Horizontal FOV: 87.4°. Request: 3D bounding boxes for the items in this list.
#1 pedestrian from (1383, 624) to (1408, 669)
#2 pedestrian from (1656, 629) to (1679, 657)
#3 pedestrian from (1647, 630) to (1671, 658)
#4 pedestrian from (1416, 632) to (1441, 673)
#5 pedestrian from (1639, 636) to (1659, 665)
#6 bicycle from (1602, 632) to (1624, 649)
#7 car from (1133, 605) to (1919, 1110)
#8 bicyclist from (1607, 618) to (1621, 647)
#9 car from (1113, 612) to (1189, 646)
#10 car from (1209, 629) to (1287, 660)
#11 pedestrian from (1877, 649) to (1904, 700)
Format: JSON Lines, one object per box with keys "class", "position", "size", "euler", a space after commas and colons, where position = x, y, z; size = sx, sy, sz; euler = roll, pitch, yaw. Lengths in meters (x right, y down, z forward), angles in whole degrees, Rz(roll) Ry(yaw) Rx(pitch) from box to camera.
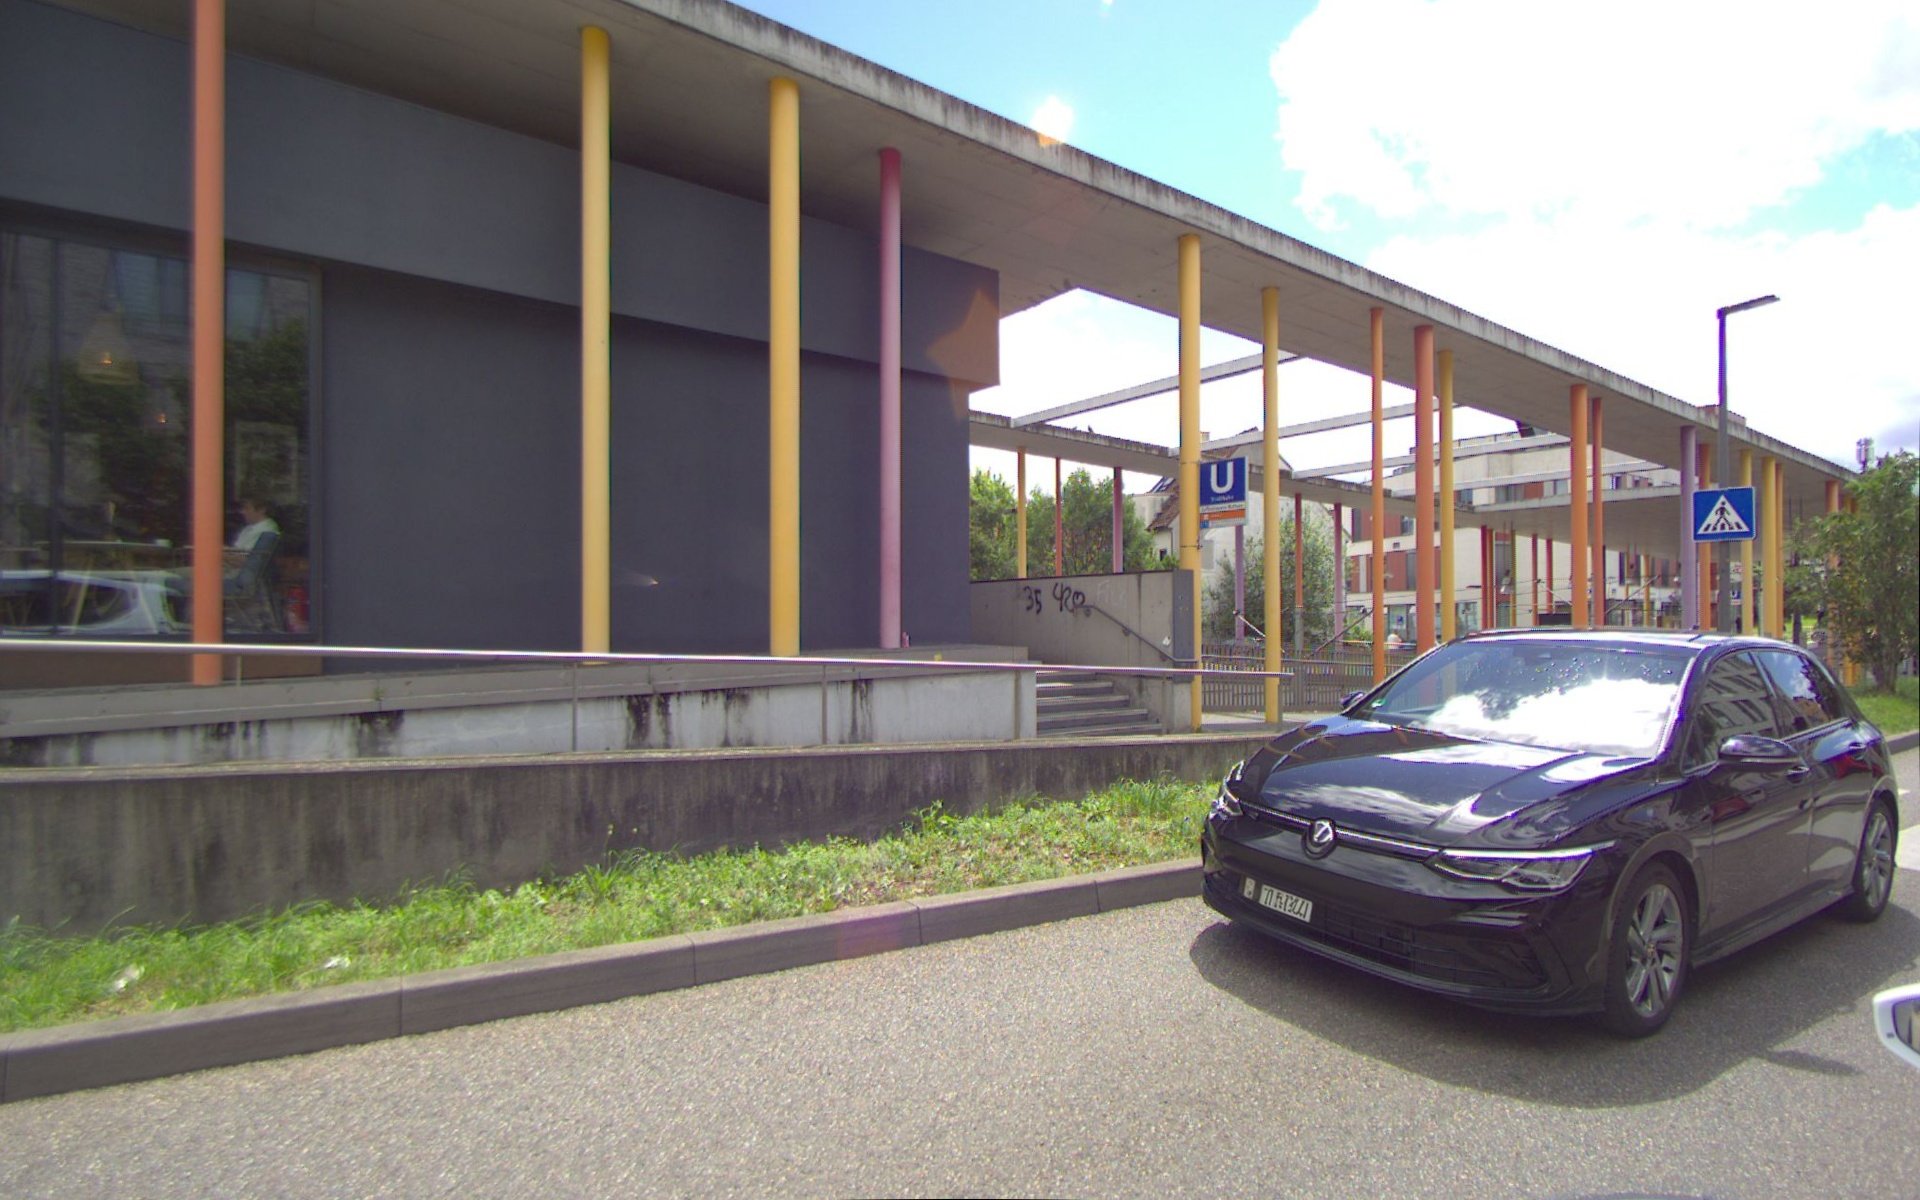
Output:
{"class": "pedestrian", "position": [18.560, 1.977, 42.840], "size": [0.793, 1.908, 0.637], "euler": [3, -1, -38]}
{"class": "pedestrian", "position": [37.127, 2.242, 52.702], "size": [0.695, 1.398, 0.816], "euler": [-1, 1, -37]}
{"class": "pedestrian", "position": [36.282, 2.277, 52.147], "size": [0.695, 1.398, 0.816], "euler": [-1, 1, -37]}
{"class": "pedestrian", "position": [19.645, 2.215, 42.096], "size": [0.724, 1.684, 0.637], "euler": [3, -1, -38]}
{"class": "pedestrian", "position": [34.961, 2.549, 50.948], "size": [0.695, 1.398, 0.646], "euler": [-1, 1, -37]}
{"class": "bicycle", "position": [37.884, 2.352, 58.252], "size": [1.597, 0.975, 0.480], "euler": [3, -1, -35]}
{"class": "car", "position": [2.981, 0.804, 4.926], "size": [4.192, 1.483, 1.761], "euler": [1, 0, -35]}
{"class": "bicyclist", "position": [37.962, 1.883, 58.302], "size": [0.675, 1.614, 0.480], "euler": [3, -1, -35]}
{"class": "car", "position": [8.806, 1.320, 46.707], "size": [1.547, 1.419, 3.979], "euler": [2, -1, -22]}
{"class": "car", "position": [14.189, 2.189, 49.680], "size": [1.547, 1.355, 3.979], "euler": [2, -1, -22]}
{"class": "pedestrian", "position": [34.907, 2.798, 37.692], "size": [0.703, 1.854, 0.582], "euler": [3, -1, -36]}
